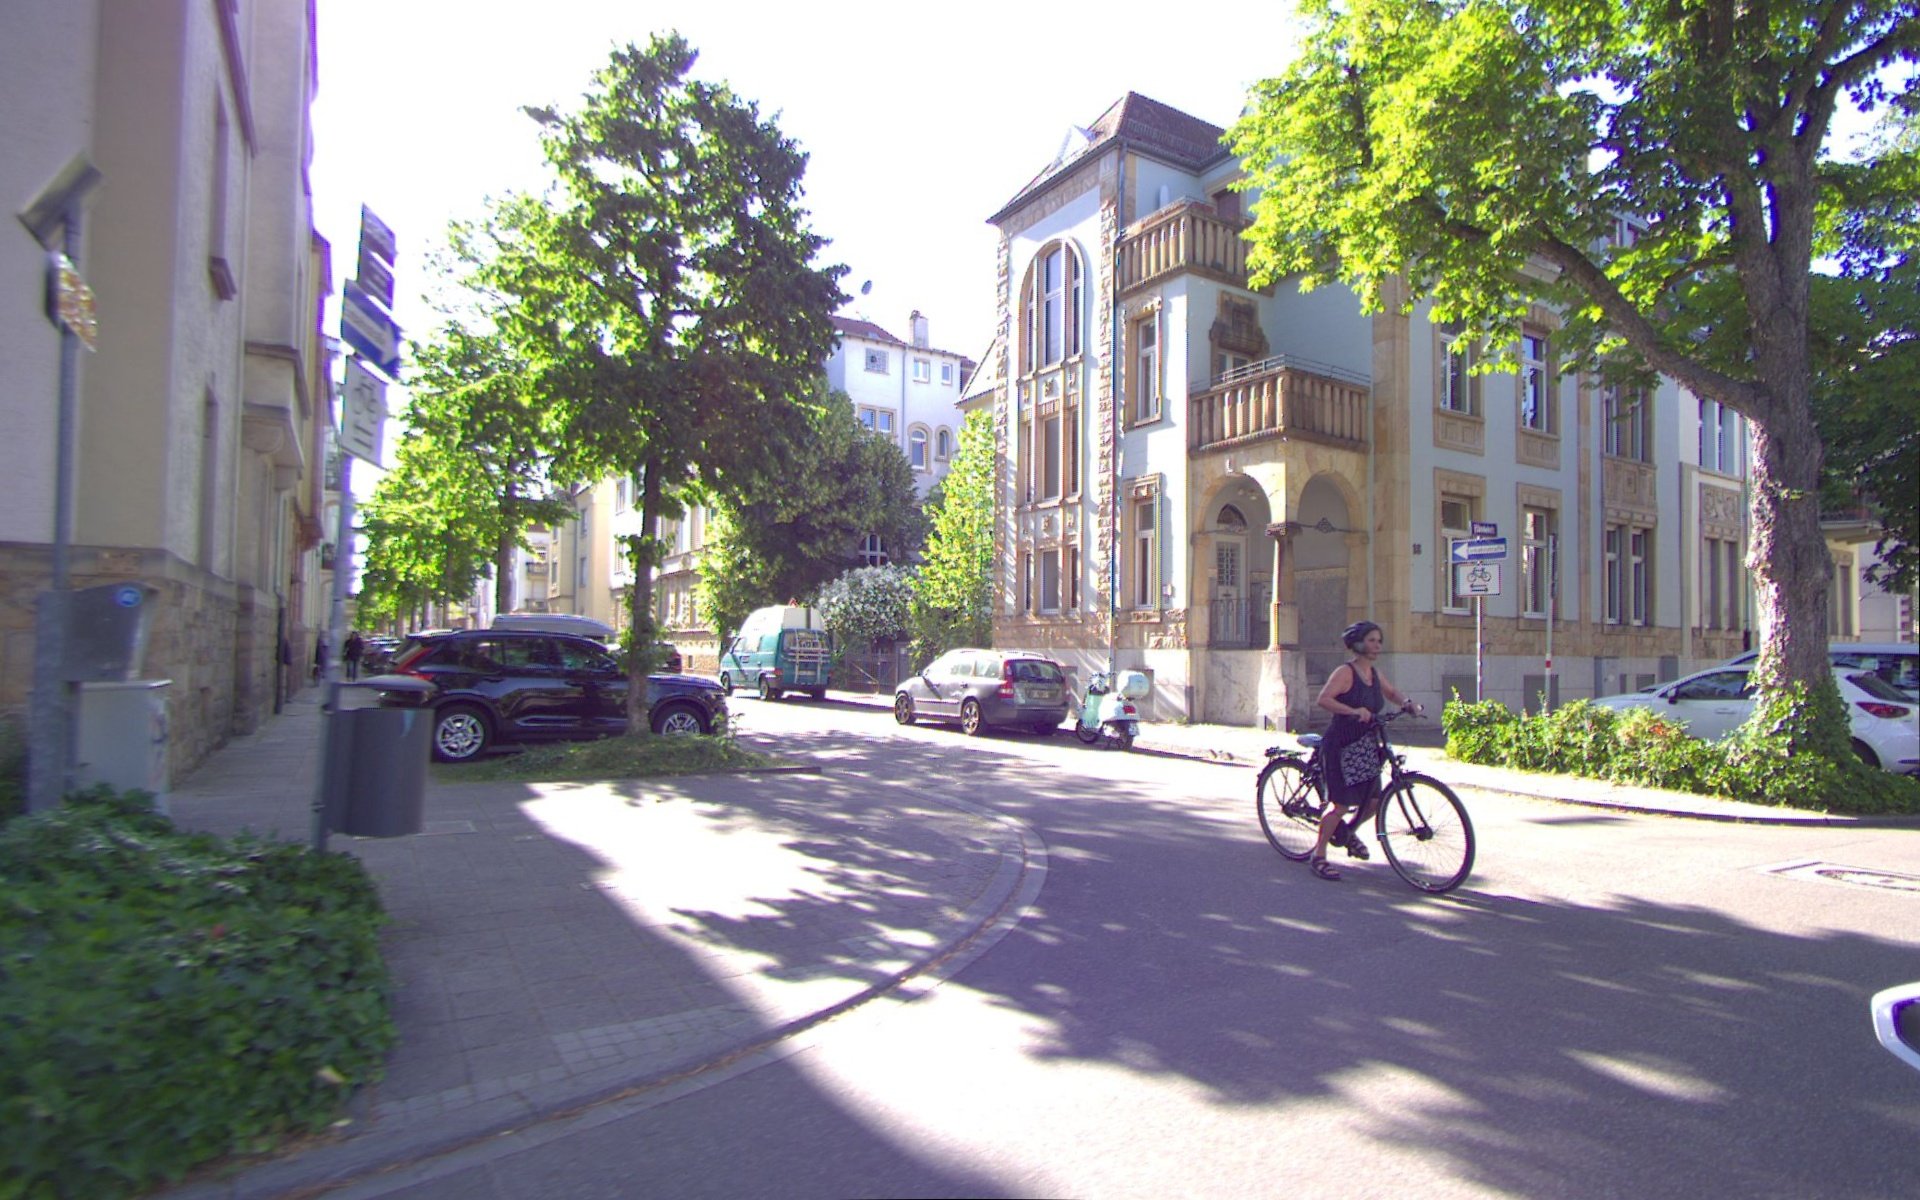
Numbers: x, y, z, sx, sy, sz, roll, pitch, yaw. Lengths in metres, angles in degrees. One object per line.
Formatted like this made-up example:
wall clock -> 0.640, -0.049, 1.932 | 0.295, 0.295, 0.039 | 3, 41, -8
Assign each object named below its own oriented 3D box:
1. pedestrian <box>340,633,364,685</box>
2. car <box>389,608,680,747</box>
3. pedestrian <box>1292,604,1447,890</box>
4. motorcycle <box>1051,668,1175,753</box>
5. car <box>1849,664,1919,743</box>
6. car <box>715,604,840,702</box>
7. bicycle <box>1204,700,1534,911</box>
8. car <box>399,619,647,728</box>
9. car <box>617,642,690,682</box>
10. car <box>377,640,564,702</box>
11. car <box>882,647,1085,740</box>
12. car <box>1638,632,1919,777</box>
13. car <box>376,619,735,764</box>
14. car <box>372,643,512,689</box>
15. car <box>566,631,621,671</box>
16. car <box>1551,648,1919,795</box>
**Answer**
pedestrian -> -18.799, 1.816, 31.059 | 0.569, 1.583, 0.479 | 2, -3, -30
car -> -6.651, 1.169, 15.778 | 3.954, 1.924, 1.984 | 2, -3, -31
pedestrian -> 2.642, 0.911, 6.512 | 0.644, 1.716, 0.628 | 1, -4, -28
motorcycle -> 2.363, 1.709, 15.853 | 0.886, 1.191, 2.207 | 4, -4, -22
car -> 19.976, 2.034, 19.303 | 1.841, 1.488, 3.970 | 1, -2, -29
car -> -5.192, 1.464, 28.124 | 1.784, 2.530, 4.379 | 3, -3, -34
bicycle -> 2.581, 1.242, 6.633 | 0.750, 1.080, 1.984 | 1, -4, -27
car -> -7.756, 1.275, 17.894 | 3.846, 1.757, 1.787 | 2, -3, -31
car -> -12.251, 2.432, 39.972 | 1.781, 1.484, 4.385 | 2, -3, -30
car -> -11.948, 1.714, 24.578 | 3.953, 1.405, 1.763 | 2, -3, -30
car -> 0.299, 1.672, 18.918 | 1.781, 1.484, 4.385 | 3, -3, -30
car -> 12.570, 1.454, 14.740 | 1.780, 1.784, 3.961 | 3, -1, -35
car -> -5.391, 1.156, 13.500 | 4.201, 1.661, 1.984 | 2, -3, -31
car -> -17.084, 2.169, 33.187 | 3.953, 1.438, 1.791 | 2, -3, -30
car -> -18.295, 2.520, 50.029 | 1.781, 1.868, 4.385 | 2, -3, -30
car -> 10.550, 1.518, 13.627 | 1.780, 1.483, 3.961 | 4, -1, -35
